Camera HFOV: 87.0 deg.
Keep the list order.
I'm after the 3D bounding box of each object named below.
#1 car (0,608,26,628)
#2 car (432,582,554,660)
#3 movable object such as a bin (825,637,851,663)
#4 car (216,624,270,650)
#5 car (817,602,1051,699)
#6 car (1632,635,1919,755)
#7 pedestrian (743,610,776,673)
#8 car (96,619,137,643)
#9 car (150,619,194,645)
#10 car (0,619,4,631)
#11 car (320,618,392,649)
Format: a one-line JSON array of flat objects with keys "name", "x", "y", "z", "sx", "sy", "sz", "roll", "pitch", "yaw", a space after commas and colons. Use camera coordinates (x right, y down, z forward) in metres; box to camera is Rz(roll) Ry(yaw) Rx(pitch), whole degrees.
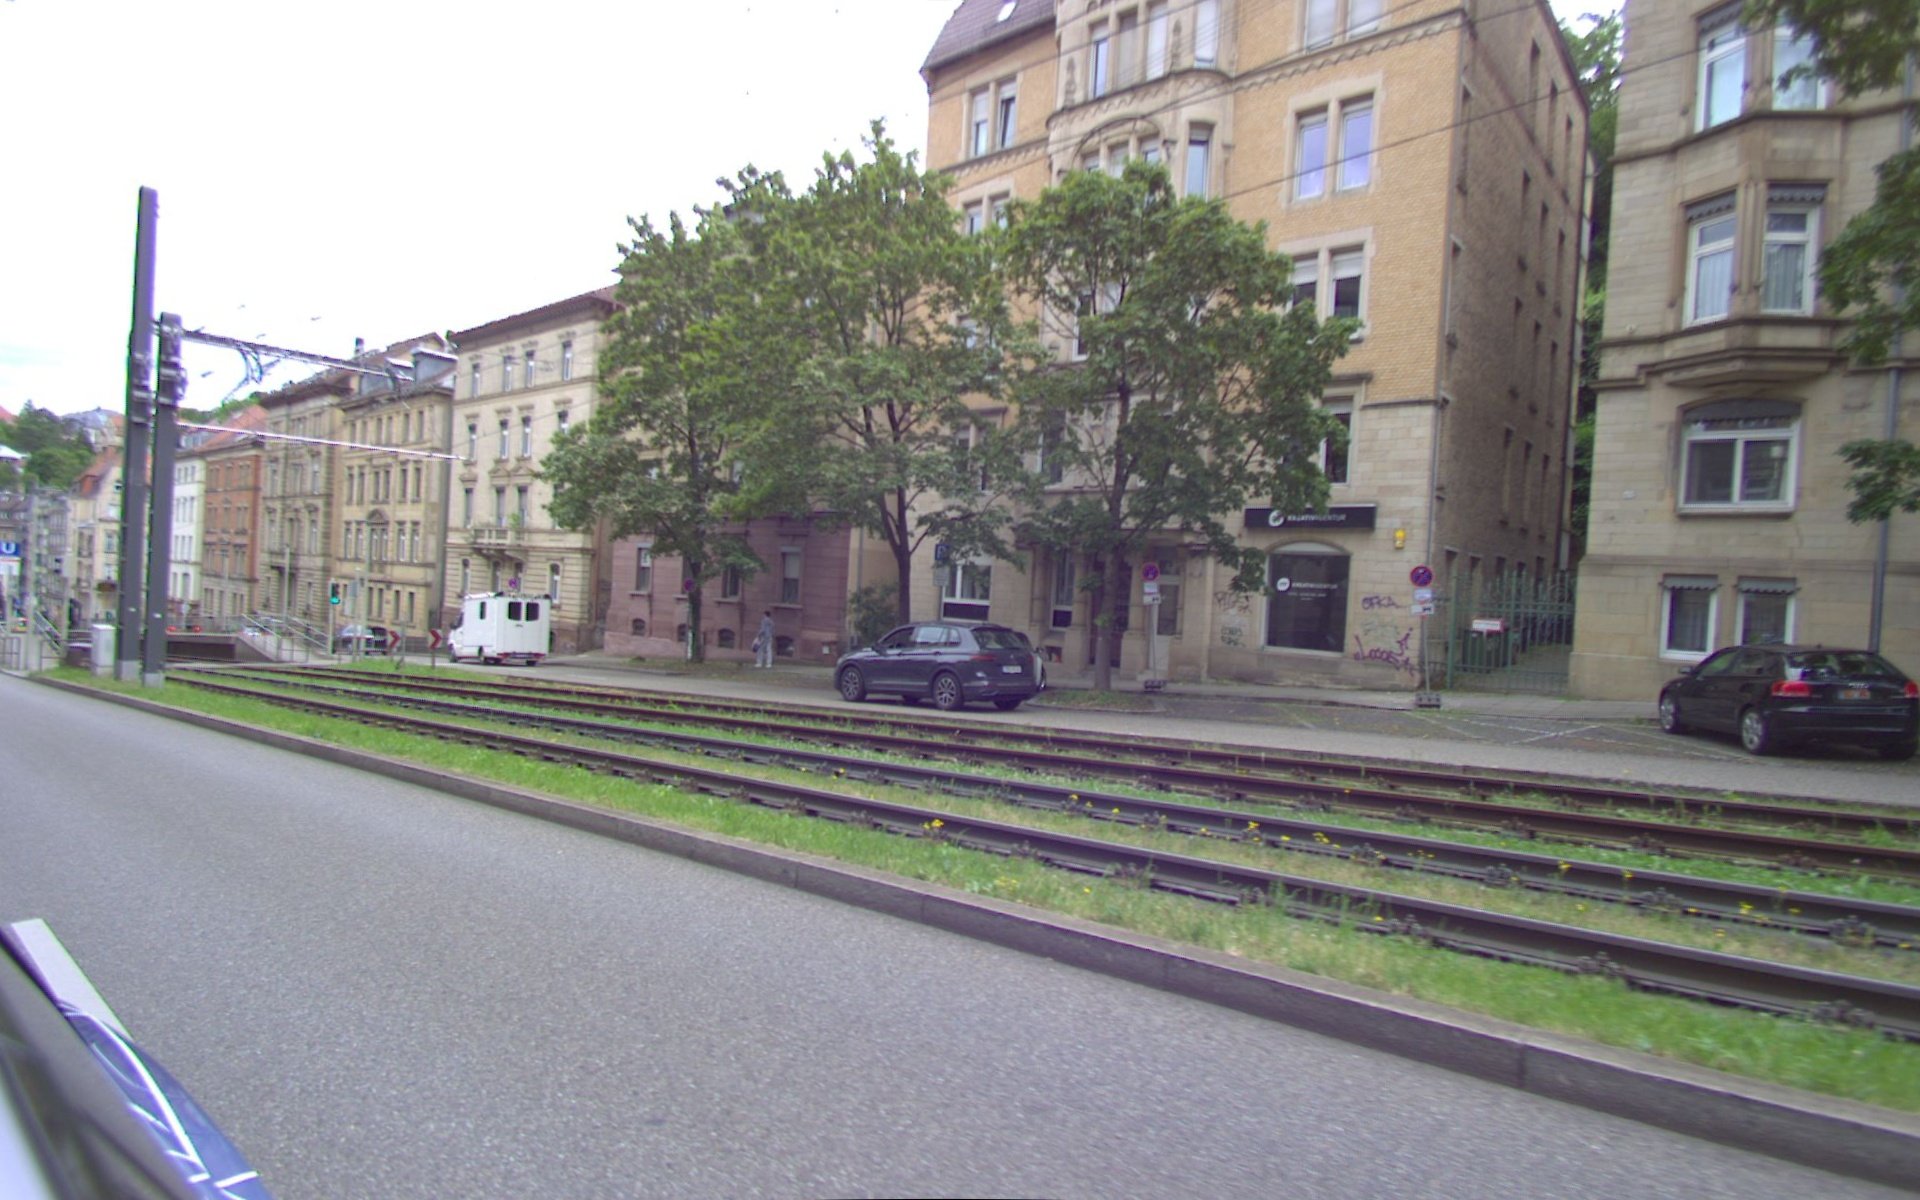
[{"name": "car", "x": -115.629, "y": 2.247, "z": 123.430, "sx": 5.453, "sy": 2.322, "sz": 1.972, "roll": -2, "pitch": -3, "yaw": 42}, {"name": "car", "x": -18.391, "y": 0.874, "z": 39.660, "sx": 2.363, "sy": 2.720, "sz": 6.526, "roll": 5, "pitch": -5, "yaw": -42}, {"name": "movable object such as a bin", "x": -3.982, "y": 1.637, "z": 33.042, "sx": 0.628, "sy": 0.842, "sz": 0.576, "roll": -2, "pitch": -4, "yaw": 42}, {"name": "car", "x": -39.143, "y": 2.018, "z": 55.202, "sx": 3.653, "sy": 1.388, "sz": 1.560, "roll": -2, "pitch": -3, "yaw": 41}, {"name": "car", "x": -0.592, "y": 0.967, "z": 19.436, "sx": 4.471, "sy": 1.663, "sz": 1.859, "roll": -2, "pitch": -5, "yaw": 44}, {"name": "car", "x": 11.163, "y": 1.188, "z": 13.930, "sx": 1.694, "sy": 1.375, "sz": 4.168, "roll": 0, "pitch": -2, "yaw": 11}, {"name": "pedestrian", "x": -6.634, "y": 1.367, "z": 33.467, "sx": 0.796, "sy": 2.029, "sz": 0.712, "roll": -2, "pitch": -4, "yaw": 40}, {"name": "car", "x": -64.818, "y": 2.384, "z": 77.746, "sx": 4.575, "sy": 1.749, "sz": 1.691, "roll": -2, "pitch": -3, "yaw": 42}, {"name": "car", "x": -58.992, "y": 2.416, "z": 75.722, "sx": 4.137, "sy": 1.874, "sz": 1.829, "roll": -2, "pitch": -3, "yaw": 42}, {"name": "car", "x": -128.753, "y": 3.298, "z": 134.602, "sx": 4.411, "sy": 1.658, "sz": 1.843, "roll": -2, "pitch": -3, "yaw": 40}, {"name": "car", "x": -30.154, "y": 1.683, "z": 50.462, "sx": 4.747, "sy": 1.439, "sz": 1.729, "roll": -2, "pitch": -4, "yaw": 42}]
